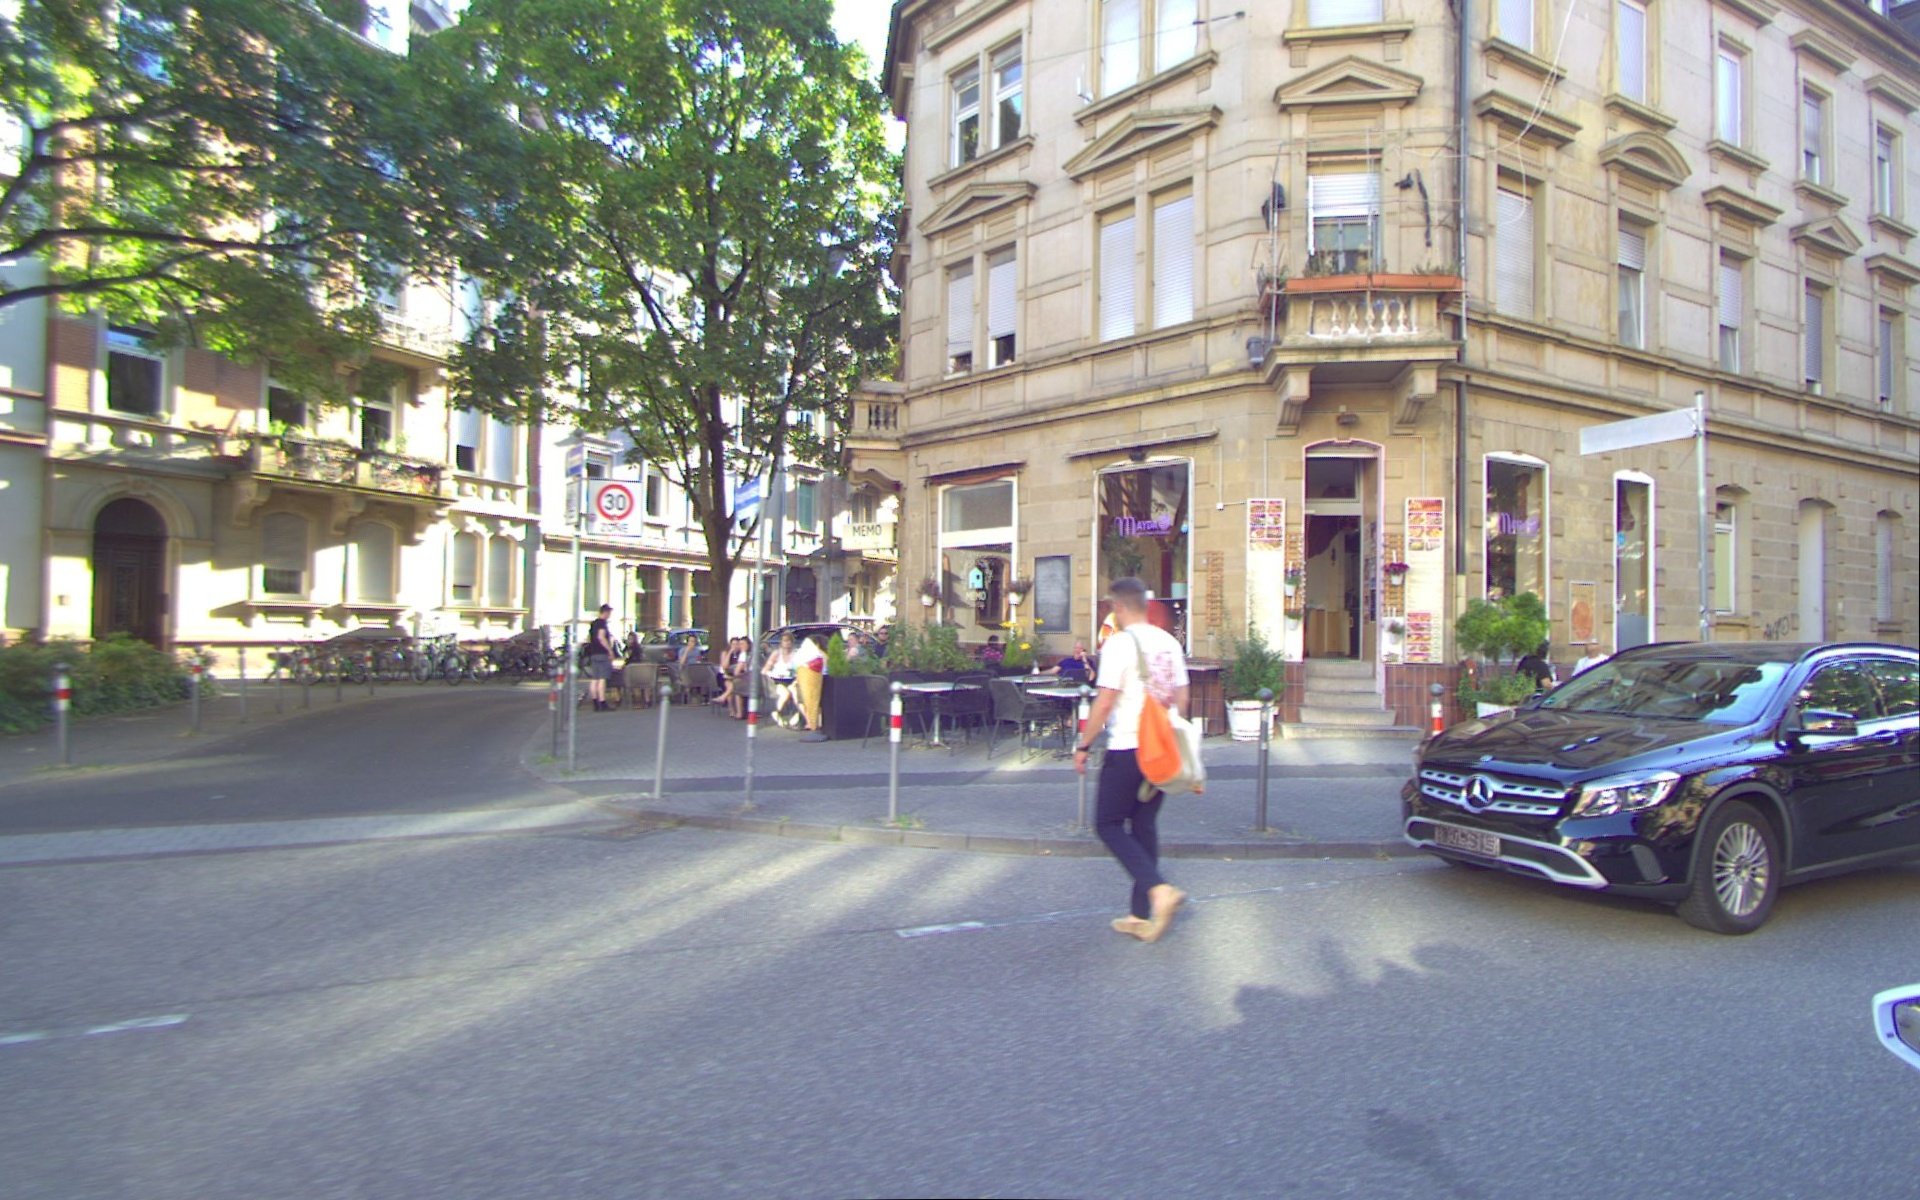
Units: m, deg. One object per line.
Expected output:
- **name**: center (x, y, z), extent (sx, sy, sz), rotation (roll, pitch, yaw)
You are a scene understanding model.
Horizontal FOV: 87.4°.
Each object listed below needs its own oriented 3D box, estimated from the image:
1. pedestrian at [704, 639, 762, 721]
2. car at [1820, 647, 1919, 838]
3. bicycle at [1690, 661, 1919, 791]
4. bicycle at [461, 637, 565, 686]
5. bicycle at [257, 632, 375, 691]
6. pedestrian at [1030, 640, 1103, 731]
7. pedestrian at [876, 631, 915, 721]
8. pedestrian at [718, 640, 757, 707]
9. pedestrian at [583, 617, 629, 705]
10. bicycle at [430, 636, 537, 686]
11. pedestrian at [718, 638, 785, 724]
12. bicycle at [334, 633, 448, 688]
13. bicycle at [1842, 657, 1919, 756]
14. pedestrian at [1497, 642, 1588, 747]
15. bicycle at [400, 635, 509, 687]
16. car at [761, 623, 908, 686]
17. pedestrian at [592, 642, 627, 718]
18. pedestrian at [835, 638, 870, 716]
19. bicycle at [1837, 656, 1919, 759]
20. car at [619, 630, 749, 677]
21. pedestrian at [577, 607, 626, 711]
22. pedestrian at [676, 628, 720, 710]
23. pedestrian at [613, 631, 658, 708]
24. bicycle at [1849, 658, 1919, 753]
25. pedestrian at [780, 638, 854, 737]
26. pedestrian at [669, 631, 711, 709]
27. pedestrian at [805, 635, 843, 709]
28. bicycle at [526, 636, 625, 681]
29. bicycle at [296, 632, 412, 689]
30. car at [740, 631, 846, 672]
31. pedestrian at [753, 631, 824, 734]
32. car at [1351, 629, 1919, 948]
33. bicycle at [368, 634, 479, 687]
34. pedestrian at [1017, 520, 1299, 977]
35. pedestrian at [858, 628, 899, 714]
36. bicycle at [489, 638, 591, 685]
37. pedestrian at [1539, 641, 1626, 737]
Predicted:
- **pedestrian**: center (-3.689, 1.279, 16.308), extent (0.740, 1.265, 0.701), rotation (1, -1, -30)
- **car**: center (9.578, 1.142, 8.409), extent (4.484, 1.470, 1.755), rotation (1, -3, -22)
- **bicycle**: center (8.806, 1.255, 10.517), extent (0.521, 1.143, 1.862), rotation (2, -1, -24)
- **bicycle**: center (-11.687, 1.574, 26.227), extent (3.080, 1.196, 0.751), rotation (0, -2, 28)
- **bicycle**: center (-14.037, 1.318, 21.857), extent (3.080, 1.196, 0.751), rotation (0, -2, 28)
- **pedestrian**: center (1.499, 1.179, 14.146), extent (0.718, 1.230, 0.752), rotation (-1, -2, 44)
- **pedestrian**: center (-1.020, 1.183, 15.828), extent (0.429, 1.385, 0.477), rotation (1, -1, -36)
- **pedestrian**: center (-4.210, 1.375, 19.003), extent (0.666, 1.231, 0.666), rotation (0, -3, -17)
- **pedestrian**: center (-6.948, 1.185, 19.709), extent (0.758, 1.691, 0.663), rotation (1, -3, -29)
- **bicycle**: center (-12.125, 1.523, 25.506), extent (3.080, 1.196, 0.751), rotation (0, -2, 28)
- **pedestrian**: center (-3.238, 1.229, 15.527), extent (0.740, 1.265, 1.017), rotation (1, -1, -30)
- **bicycle**: center (-13.247, 1.378, 23.354), extent (3.080, 1.196, 0.751), rotation (0, -2, 28)
- **bicycle**: center (11.806, 1.300, 11.987), extent (0.521, 1.143, 1.862), rotation (2, -1, -24)
- **pedestrian**: center (7.394, 1.175, 12.765), extent (0.748, 1.275, 0.722), rotation (1, -2, -29)
- **bicycle**: center (-12.490, 1.474, 24.784), extent (3.080, 1.196, 0.751), rotation (0, -2, 28)
- **car**: center (-3.292, 1.451, 26.968), extent (3.762, 1.582, 1.803), rotation (1, -2, -3)
- **pedestrian**: center (-6.364, 1.447, 18.264), extent (0.563, 1.338, 0.503), rotation (0, -1, -17)
- **pedestrian**: center (-1.777, 1.257, 16.551), extent (0.428, 1.265, 0.478), rotation (1, -1, -29)
- **bicycle**: center (11.306, 1.263, 11.499), extent (0.521, 1.143, 1.862), rotation (2, -1, -24)
- **car**: center (-8.648, 1.658, 31.762), extent (1.894, 1.394, 3.746), rotation (0, -2, 28)
- **pedestrian**: center (-6.313, 1.026, 17.709), extent (0.754, 1.793, 0.570), rotation (0, -3, -15)
- **pedestrian**: center (-4.783, 1.247, 18.341), extent (0.754, 1.460, 0.666), rotation (0, -3, -15)
- **pedestrian**: center (-6.144, 1.310, 19.045), extent (0.754, 1.430, 0.666), rotation (0, -3, -13)
- **bicycle**: center (12.280, 1.337, 12.429), extent (0.521, 1.143, 1.862), rotation (2, -1, -24)
- **pedestrian**: center (-1.979, 1.179, 13.872), extent (0.736, 1.306, 0.738), rotation (2, -2, -37)
- **pedestrian**: center (-5.175, 1.333, 19.290), extent (0.754, 1.460, 0.666), rotation (0, -3, -15)
- **pedestrian**: center (-2.364, 1.241, 17.456), extent (0.504, 1.265, 0.478), rotation (1, -1, -30)
- **bicycle**: center (-10.727, 1.607, 27.966), extent (3.080, 1.196, 0.751), rotation (0, -2, 28)
- **bicycle**: center (-13.660, 1.334, 22.613), extent (3.080, 1.196, 0.751), rotation (0, -2, 28)
- **car**: center (-5.955, 1.831, 36.257), extent (1.894, 1.394, 3.746), rotation (0, -2, 28)
- **pedestrian**: center (-2.485, 1.168, 14.527), extent (0.721, 1.429, 0.748), rotation (2, -2, -39)
- **car**: center (4.709, 0.980, 6.380), extent (4.079, 1.507, 1.755), rotation (1, -3, -22)
- **bicycle**: center (-12.869, 1.423, 24.045), extent (3.080, 1.196, 0.751), rotation (0, -2, 28)
- **pedestrian**: center (0.945, 0.647, 4.946), extent (0.833, 1.923, 1.108), rotation (2, -2, -33)
- **pedestrian**: center (-1.406, 1.213, 17.360), extent (0.478, 1.450, 0.563), rotation (1, -1, -38)
- **bicycle**: center (-11.302, 1.626, 26.977), extent (3.080, 1.196, 0.751), rotation (0, -2, 28)
- **pedestrian**: center (8.326, 1.174, 13.450), extent (0.748, 1.230, 0.722), rotation (2, -2, -29)
